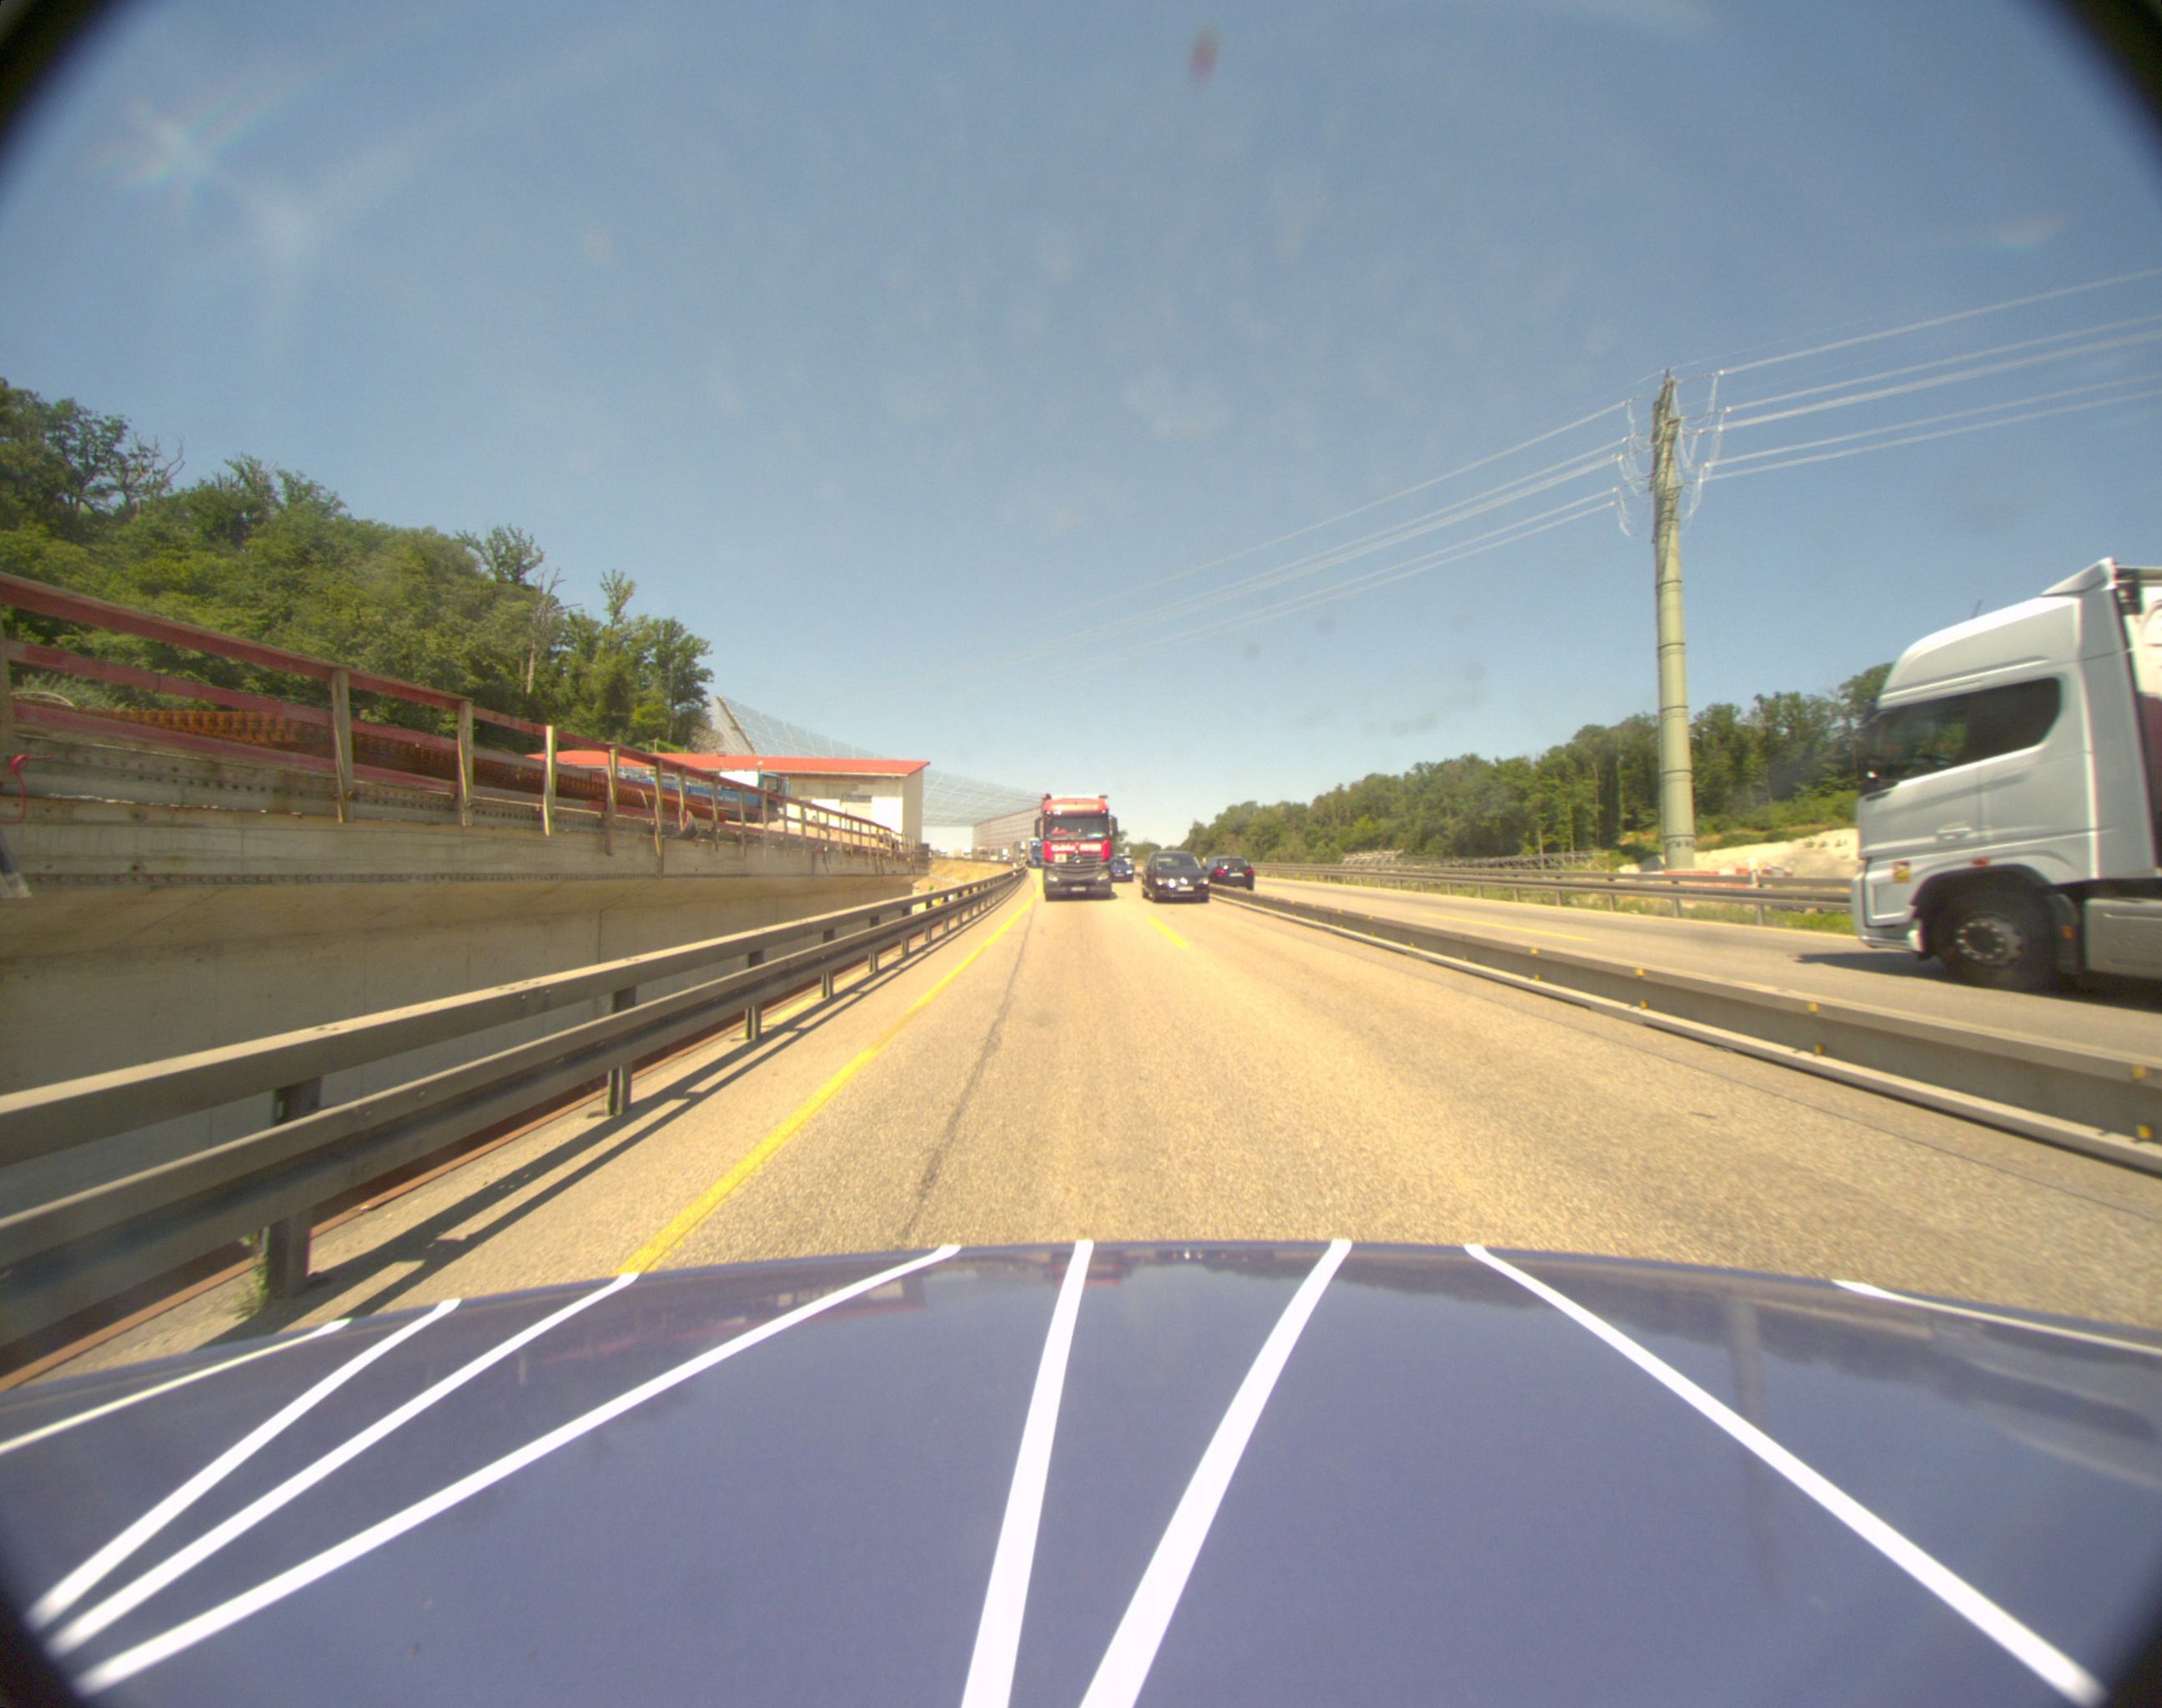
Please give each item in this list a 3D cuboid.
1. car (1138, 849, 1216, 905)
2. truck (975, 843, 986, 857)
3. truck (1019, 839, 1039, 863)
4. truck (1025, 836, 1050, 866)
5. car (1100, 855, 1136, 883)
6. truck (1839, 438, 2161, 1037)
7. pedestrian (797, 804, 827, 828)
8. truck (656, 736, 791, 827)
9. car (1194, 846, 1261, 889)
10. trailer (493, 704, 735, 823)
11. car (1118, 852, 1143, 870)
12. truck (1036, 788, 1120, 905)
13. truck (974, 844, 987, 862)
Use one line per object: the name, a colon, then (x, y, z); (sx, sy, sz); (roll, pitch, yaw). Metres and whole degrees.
car: (3.202, 0.747, 26.396); (1.861, 1.695, 5.303); (-1, 0, -1)
truck: (-30.328, -1.249, 229.445); (3.044, 4.033, 8.666); (-2, 1, -9)
truck: (-9.570, -0.642, 138.902); (2.911, 4.207, 9.233); (-2, 1, -8)
truck: (-6.312, -0.463, 109.226); (2.673, 3.986, 10.420); (-2, 1, -8)
car: (2.225, 0.894, 46.515); (1.896, 1.546, 4.786); (-1, 0, -1)
truck: (10.199, -0.961, 6.376); (3.068, 4.794, 4.644); (-1, 1, 1)
pedestrian: (-13.189, -1.856, 37.299); (1.022, 1.144, 0.994); (-1, 1, 4)
truck: (-17.509, -3.401, 37.605); (2.713, 3.671, 5.722); (-1, -2, 21)
car: (6.285, 0.520, 33.051); (1.998, 1.630, 4.853); (-1, 1, 1)
trailer: (-19.439, -3.536, 32.593); (2.713, 3.671, 9.013); (-1, -2, 21)
car: (4.853, 0.648, 74.825); (1.917, 1.695, 4.734); (-2, 0, -3)
truck: (-0.276, -0.340, 31.477); (2.799, 3.986, 10.426); (-2, 1, -2)
truck: (-27.234, -0.393, 206.274); (3.043, 4.778, 8.933); (-2, 1, -9)
